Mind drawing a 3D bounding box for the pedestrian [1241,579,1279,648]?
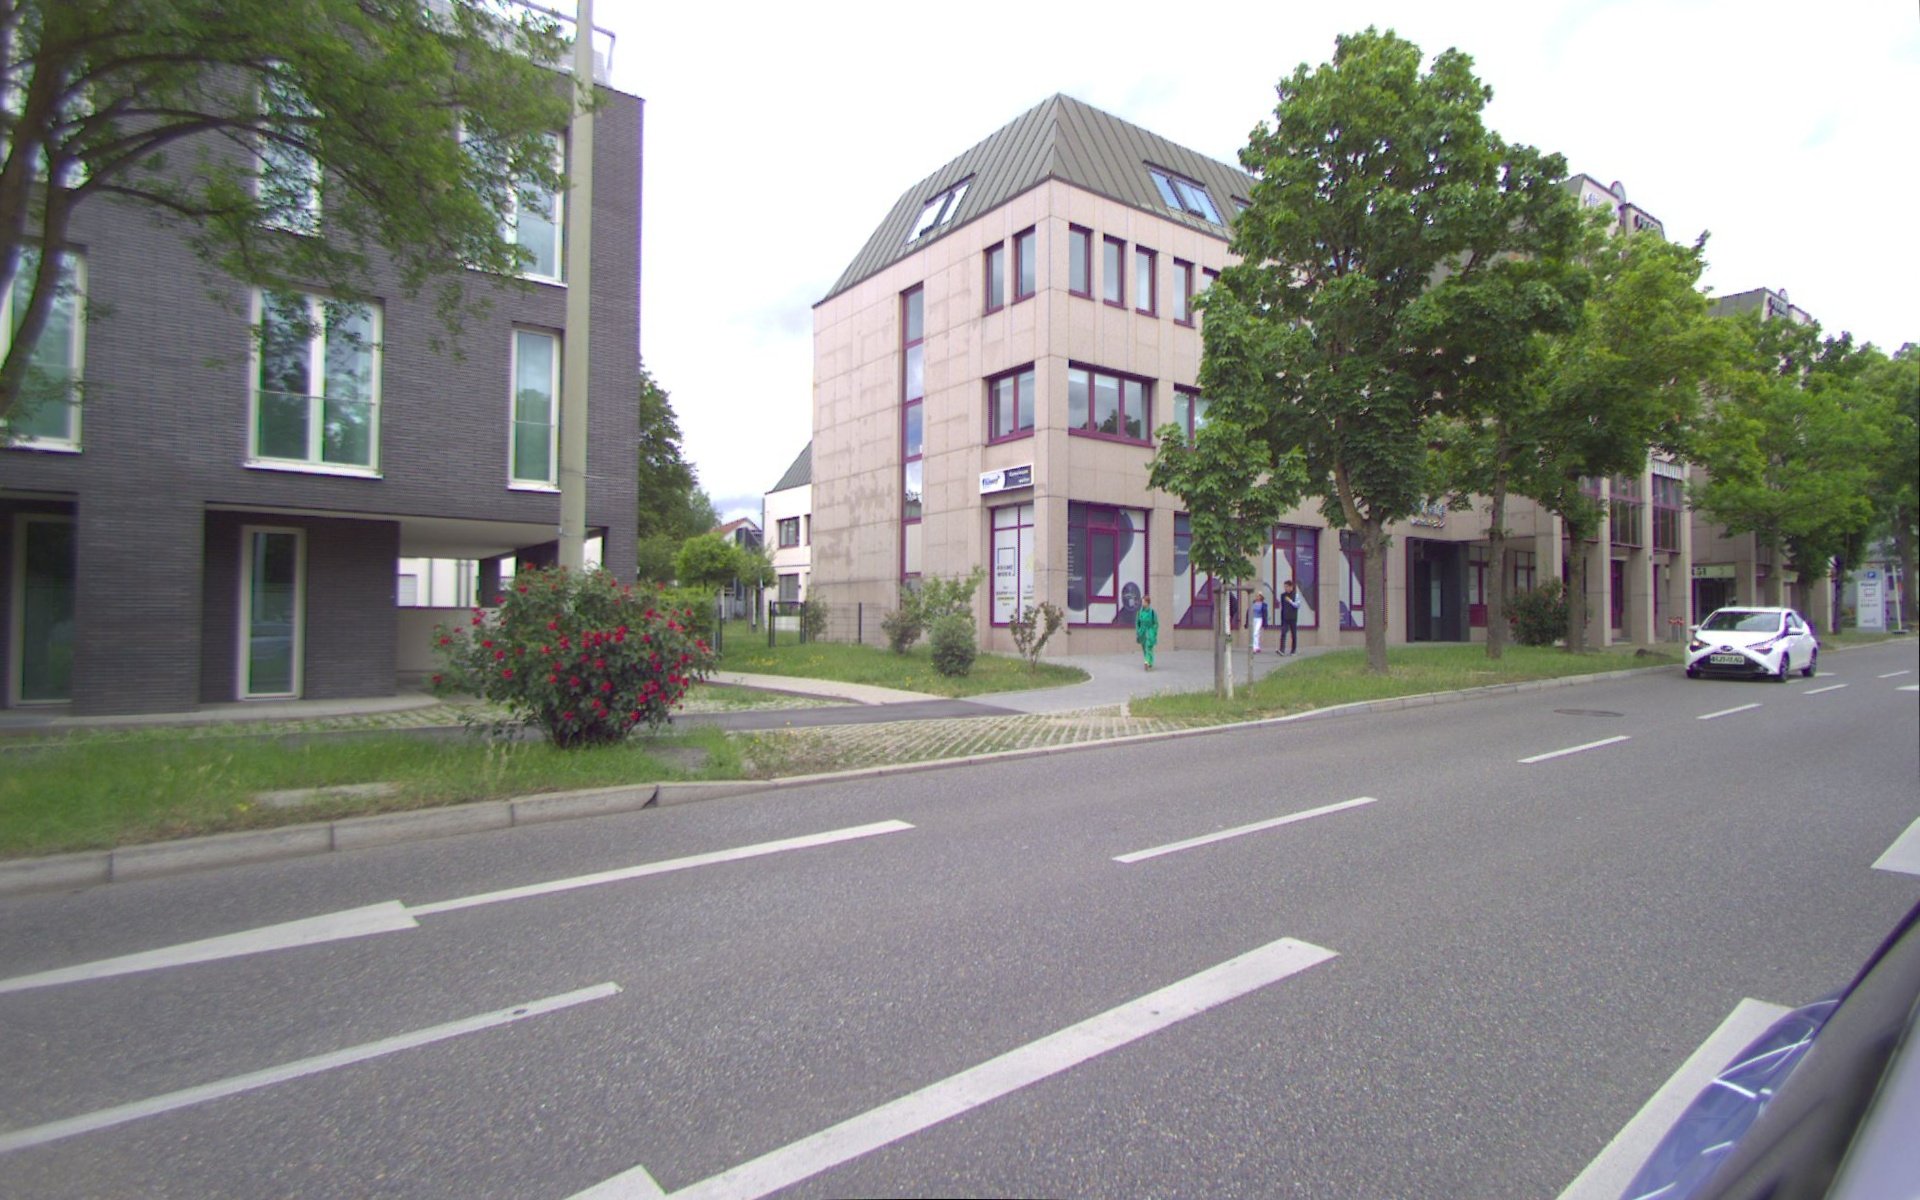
[{"bbox_3d":[7.482,0.331,25.225,0.665,1.668,0.642,0,-1,-41],"label":"pedestrian"}]

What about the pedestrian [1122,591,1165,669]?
[{"bbox_3d":[3.718,0.591,20.521,0.665,1.537,0.496,0,2,-41],"label":"pedestrian"}]

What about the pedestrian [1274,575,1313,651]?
[{"bbox_3d":[8.120,0.306,24.646,0.665,1.828,0.642,0,-1,-41],"label":"pedestrian"}]

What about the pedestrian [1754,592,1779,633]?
[{"bbox_3d":[37.228,0.565,46.723,0.932,1.845,0.718,0,0,-41],"label":"pedestrian"}]

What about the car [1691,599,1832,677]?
[{"bbox_3d":[16.482,0.702,20.770,3.473,1.443,1.656,0,1,-41],"label":"car"}]

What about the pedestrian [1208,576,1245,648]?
[{"bbox_3d":[6.811,0.302,25.841,0.665,1.828,0.642,0,-1,-41],"label":"pedestrian"}]
